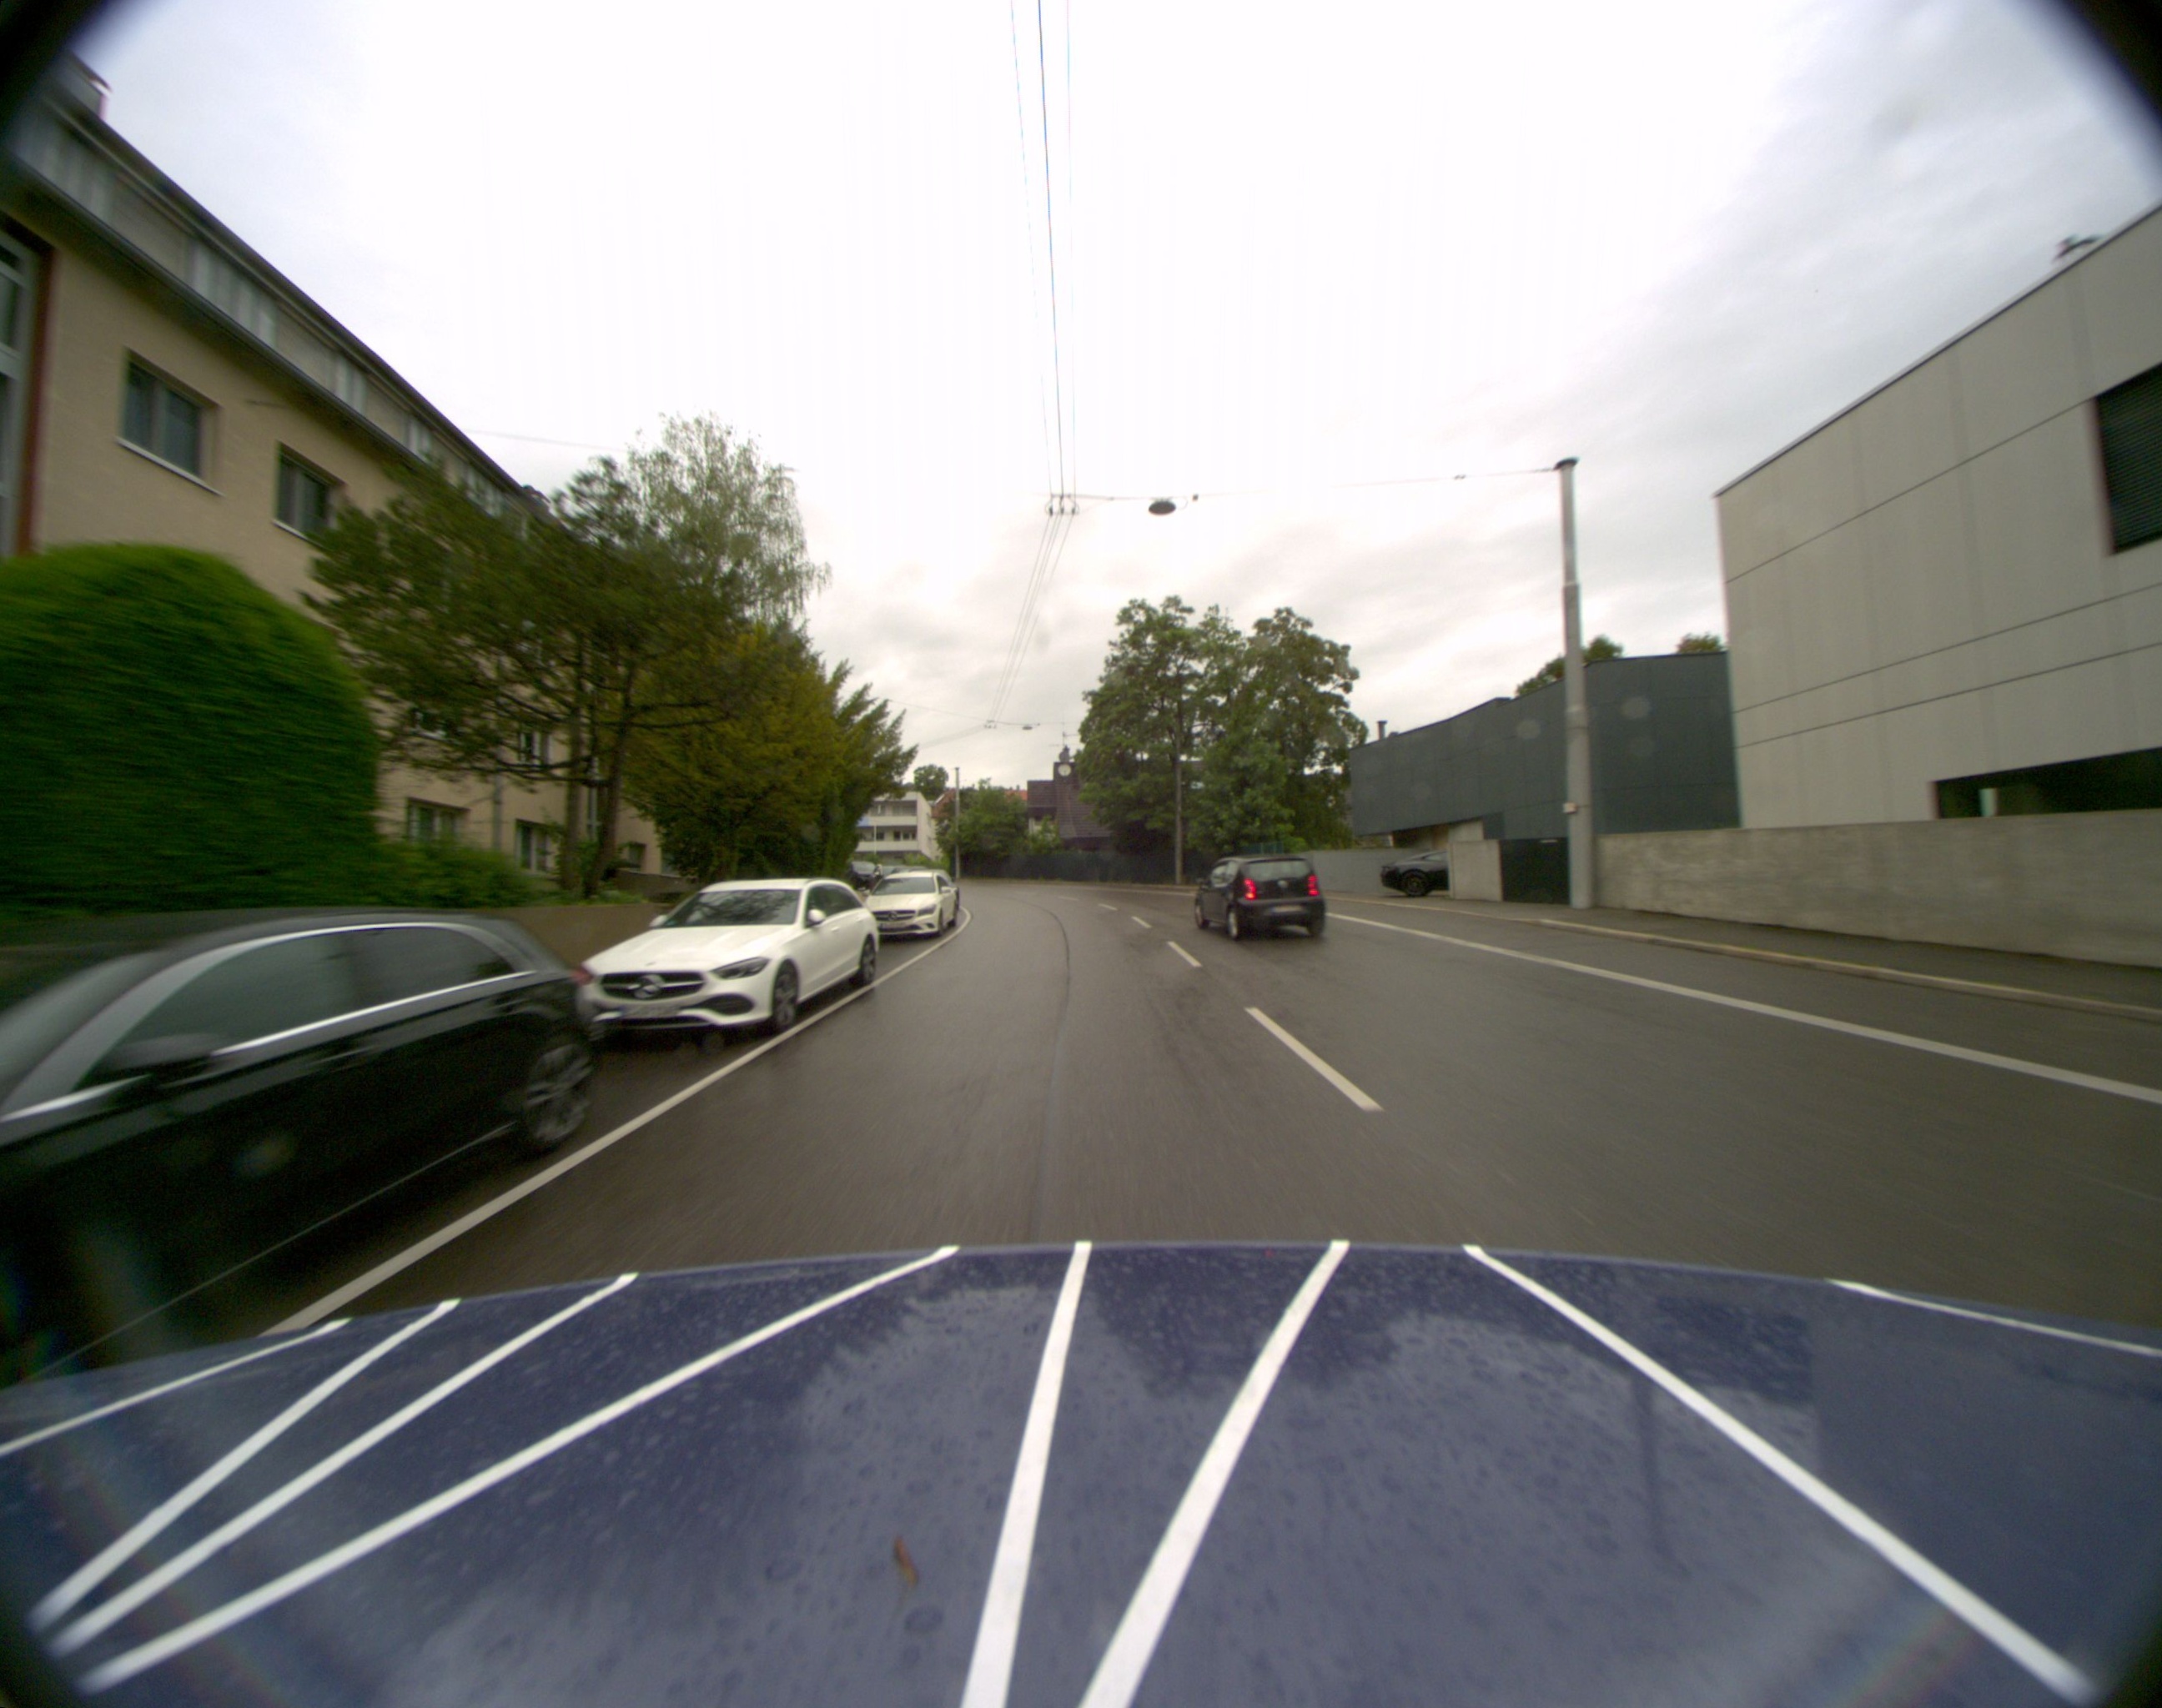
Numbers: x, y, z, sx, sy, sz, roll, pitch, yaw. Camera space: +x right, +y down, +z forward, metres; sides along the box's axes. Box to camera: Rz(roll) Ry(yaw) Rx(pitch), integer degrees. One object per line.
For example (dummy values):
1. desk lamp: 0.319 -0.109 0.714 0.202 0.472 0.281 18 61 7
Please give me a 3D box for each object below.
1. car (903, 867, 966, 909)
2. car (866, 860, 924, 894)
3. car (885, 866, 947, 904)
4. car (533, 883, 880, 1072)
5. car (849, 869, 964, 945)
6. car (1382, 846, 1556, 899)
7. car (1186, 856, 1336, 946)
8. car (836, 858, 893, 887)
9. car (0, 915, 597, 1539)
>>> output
1. car: -5.345 1.159 27.286 1.814 1.340 4.613 1 -1 -16
2. car: -8.863 1.073 36.098 1.690 1.462 3.730 3 -2 -29
3. car: -7.051 1.277 32.130 1.815 1.427 4.522 1 -1 -22
4. car: -3.719 1.121 8.538 1.812 1.446 4.254 -1 -1 -1
5. car: -3.955 1.142 17.995 1.784 1.427 4.568 -3 -1 -2
6. car: 10.467 0.490 20.571 3.989 1.293 1.901 -2 0 34
7. car: 3.275 0.802 14.578 1.654 1.411 3.801 -3 0 -4
8. car: -11.614 0.985 40.603 1.724 1.426 4.058 4 -2 -34
9. car: -3.713 1.085 2.503 1.694 1.446 4.253 -1 -1 -4
